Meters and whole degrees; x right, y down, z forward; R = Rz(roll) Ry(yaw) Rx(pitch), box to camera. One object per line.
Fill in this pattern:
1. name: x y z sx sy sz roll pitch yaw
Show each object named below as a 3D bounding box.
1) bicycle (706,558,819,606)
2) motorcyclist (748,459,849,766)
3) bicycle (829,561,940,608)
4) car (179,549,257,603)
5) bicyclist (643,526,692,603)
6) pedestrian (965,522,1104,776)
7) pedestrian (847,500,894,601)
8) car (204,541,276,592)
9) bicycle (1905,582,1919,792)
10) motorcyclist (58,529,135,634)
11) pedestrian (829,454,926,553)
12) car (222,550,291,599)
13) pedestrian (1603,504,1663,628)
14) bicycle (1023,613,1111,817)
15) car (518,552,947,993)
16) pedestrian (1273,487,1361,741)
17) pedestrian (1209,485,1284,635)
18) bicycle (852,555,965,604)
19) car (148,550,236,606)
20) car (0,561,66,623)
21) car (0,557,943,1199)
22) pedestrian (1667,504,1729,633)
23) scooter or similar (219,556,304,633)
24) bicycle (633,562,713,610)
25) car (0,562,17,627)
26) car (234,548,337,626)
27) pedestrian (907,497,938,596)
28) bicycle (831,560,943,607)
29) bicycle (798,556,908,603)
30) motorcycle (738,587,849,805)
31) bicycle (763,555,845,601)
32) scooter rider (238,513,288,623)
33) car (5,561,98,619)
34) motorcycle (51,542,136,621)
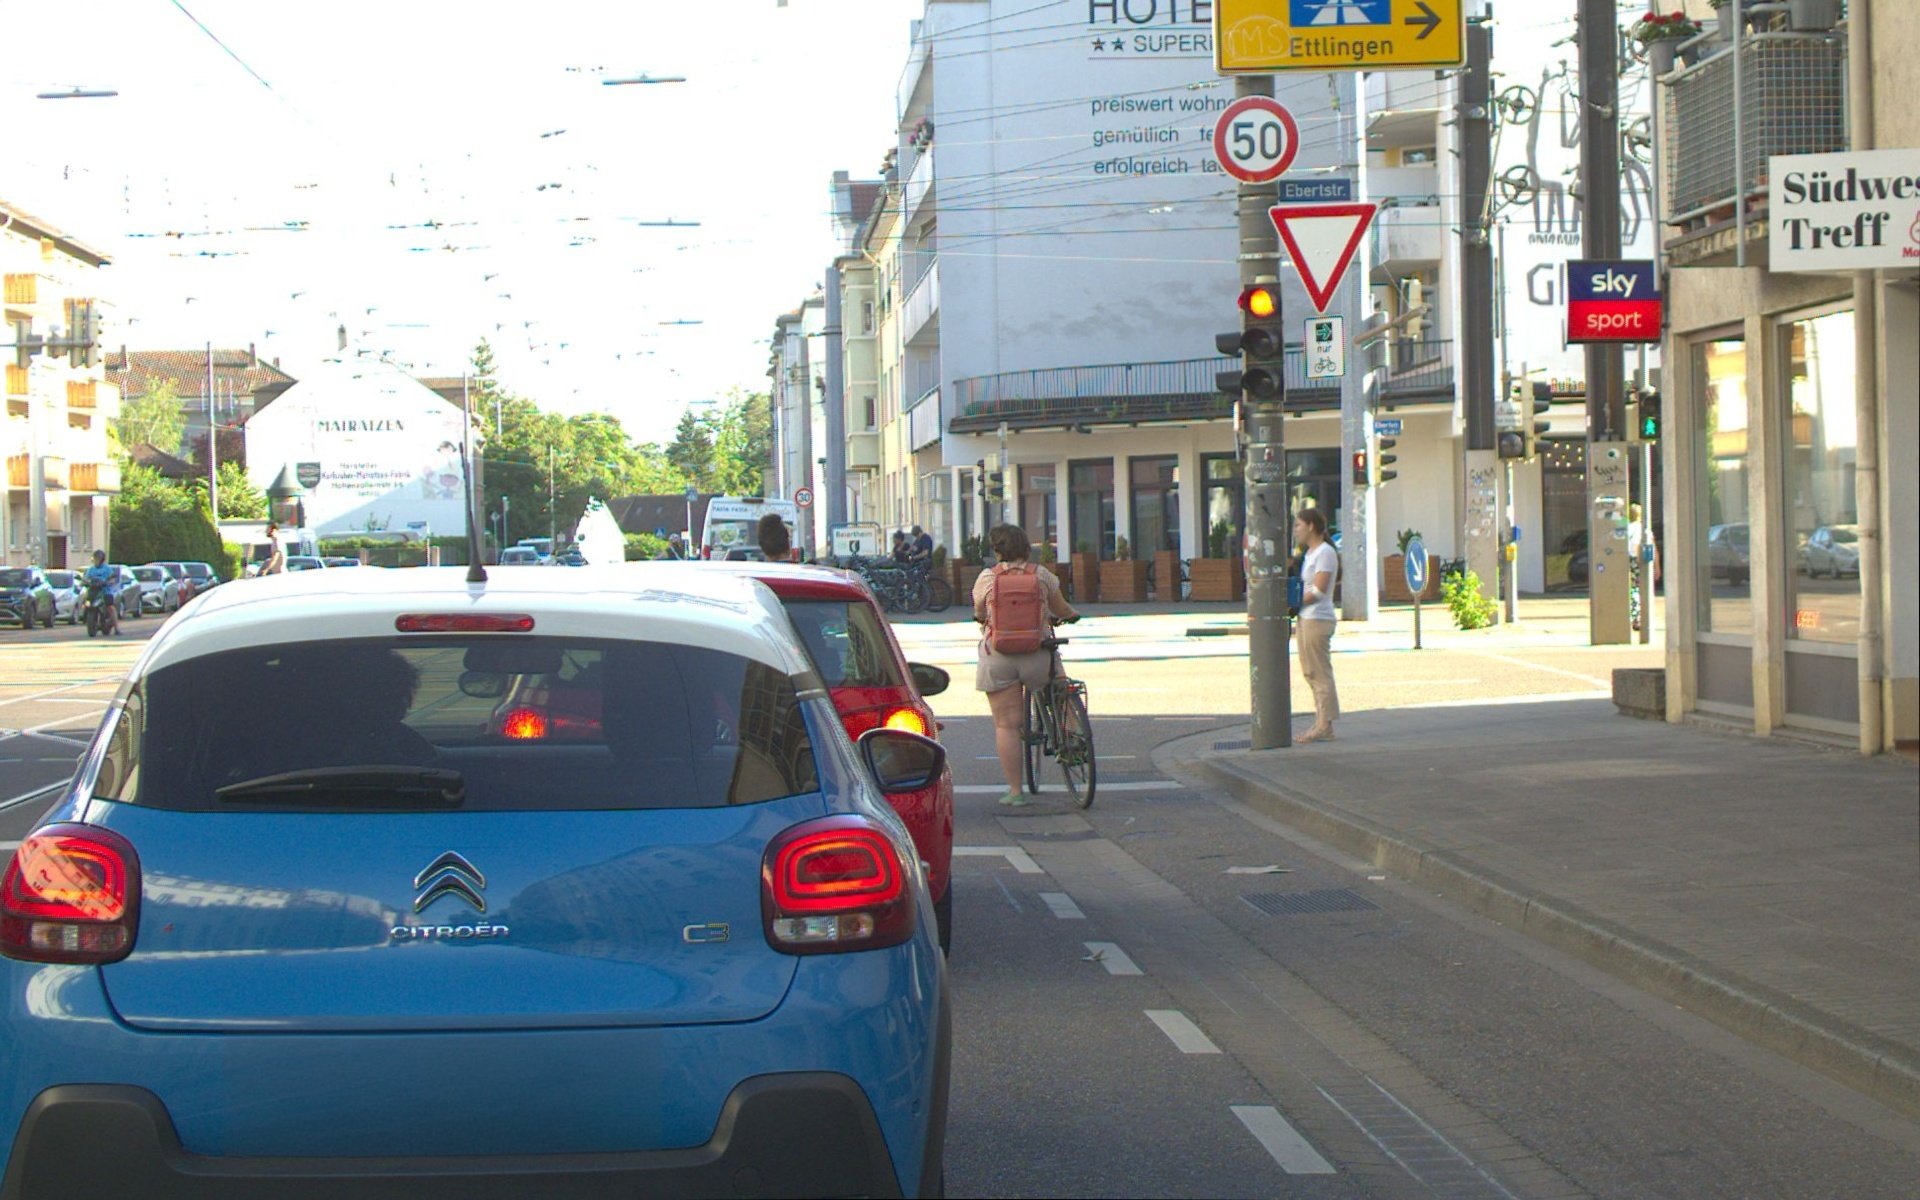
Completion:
1. bicycle: -3.799 -0.348 66.163 2.132 0.898 0.367 1 0 -9
2. motorcyclist: -0.914 0.069 19.595 0.526 1.710 0.717 1 0 -1
3. bicycle: -1.488 -0.298 67.525 2.132 0.898 0.367 1 0 -9
4. car: -24.009 -0.781 111.299 1.882 1.681 4.001 1 1 -4
5. bicyclist: -5.614 -0.682 65.891 0.747 1.472 0.561 1 1 43
6. pedestrian: 0.430 0.279 20.213 0.777 1.455 0.682 1 0 -1
7. pedestrian: -1.804 -0.990 69.150 0.630 2.007 0.724 1 0 -36
8. car: -24.435 -1.127 116.799 1.833 1.681 4.001 1 1 -4
9. bicycle: 4.847 0.425 15.744 0.542 0.995 1.706 1 1 -1
10. motorcyclist: -16.921 -0.367 67.389 1.185 2.007 1.276 -1 1 -3
11. pedestrian: -1.743 -2.034 73.506 1.993 2.007 4.000 1 1 -1
12. car: -24.790 -0.892 121.285 1.846 1.681 3.875 1 1 -4
13. pedestrian: 8.812 -0.449 44.998 0.736 1.595 0.748 1 0 13
14. bicycle: 0.625 0.656 20.503 0.427 1.119 1.998 1 1 -1
15. car: -0.787 0.573 13.115 1.424 1.462 2.924 -1 0 -1
16. pedestrian: 2.528 0.096 24.380 0.517 1.777 0.595 1 0 -2
17. pedestrian: 3.897 -0.543 46.845 0.926 2.007 0.759 1 0 -1
18. bicycle: -0.991 -0.392 65.947 2.132 0.898 0.367 1 0 -9
19. car: -23.578 -0.684 105.663 1.983 1.681 4.001 1 1 -3
20. car: -23.697 -0.222 86.071 1.785 1.493 4.001 1 1 -4
21. car: -0.883 0.644 7.171 1.654 1.439 3.523 1 1 -1
22. pedestrian: 9.636 -0.413 44.881 0.752 1.652 0.883 1 0 13
23. scooter or similar: -11.780 -0.093 57.957 1.349 1.265 0.444 -1 0 -15
24. bicycle: -5.500 -0.267 65.773 1.858 0.900 0.349 1 1 43
25. car: -23.176 -0.133 79.333 1.787 1.506 4.150 1 1 -2
26. car: -14.957 -0.305 76.403 1.774 1.660 3.857 1 1 -4
27. pedestrian: -0.774 -1.085 70.168 0.577 2.007 0.626 1 0 -3
28. bicycle: -1.422 -0.324 67.104 2.132 0.898 0.367 1 0 -9
29. bicycle: -2.127 -0.407 68.310 2.132 0.898 0.367 1 0 -9
30. motorcycle: -0.922 0.504 19.412 0.526 1.136 2.290 1 1 -1
31. bicycle: -3.148 -0.445 69.421 1.785 0.898 0.366 1 1 34
32. scooter rider: -11.754 -0.540 57.945 0.722 1.826 0.717 -2 1 -16
33. car: -24.288 -0.277 92.019 1.732 1.493 4.001 1 1 -5
34. motorcycle: -16.862 -0.365 66.988 0.923 1.481 3.726 1 1 -3
